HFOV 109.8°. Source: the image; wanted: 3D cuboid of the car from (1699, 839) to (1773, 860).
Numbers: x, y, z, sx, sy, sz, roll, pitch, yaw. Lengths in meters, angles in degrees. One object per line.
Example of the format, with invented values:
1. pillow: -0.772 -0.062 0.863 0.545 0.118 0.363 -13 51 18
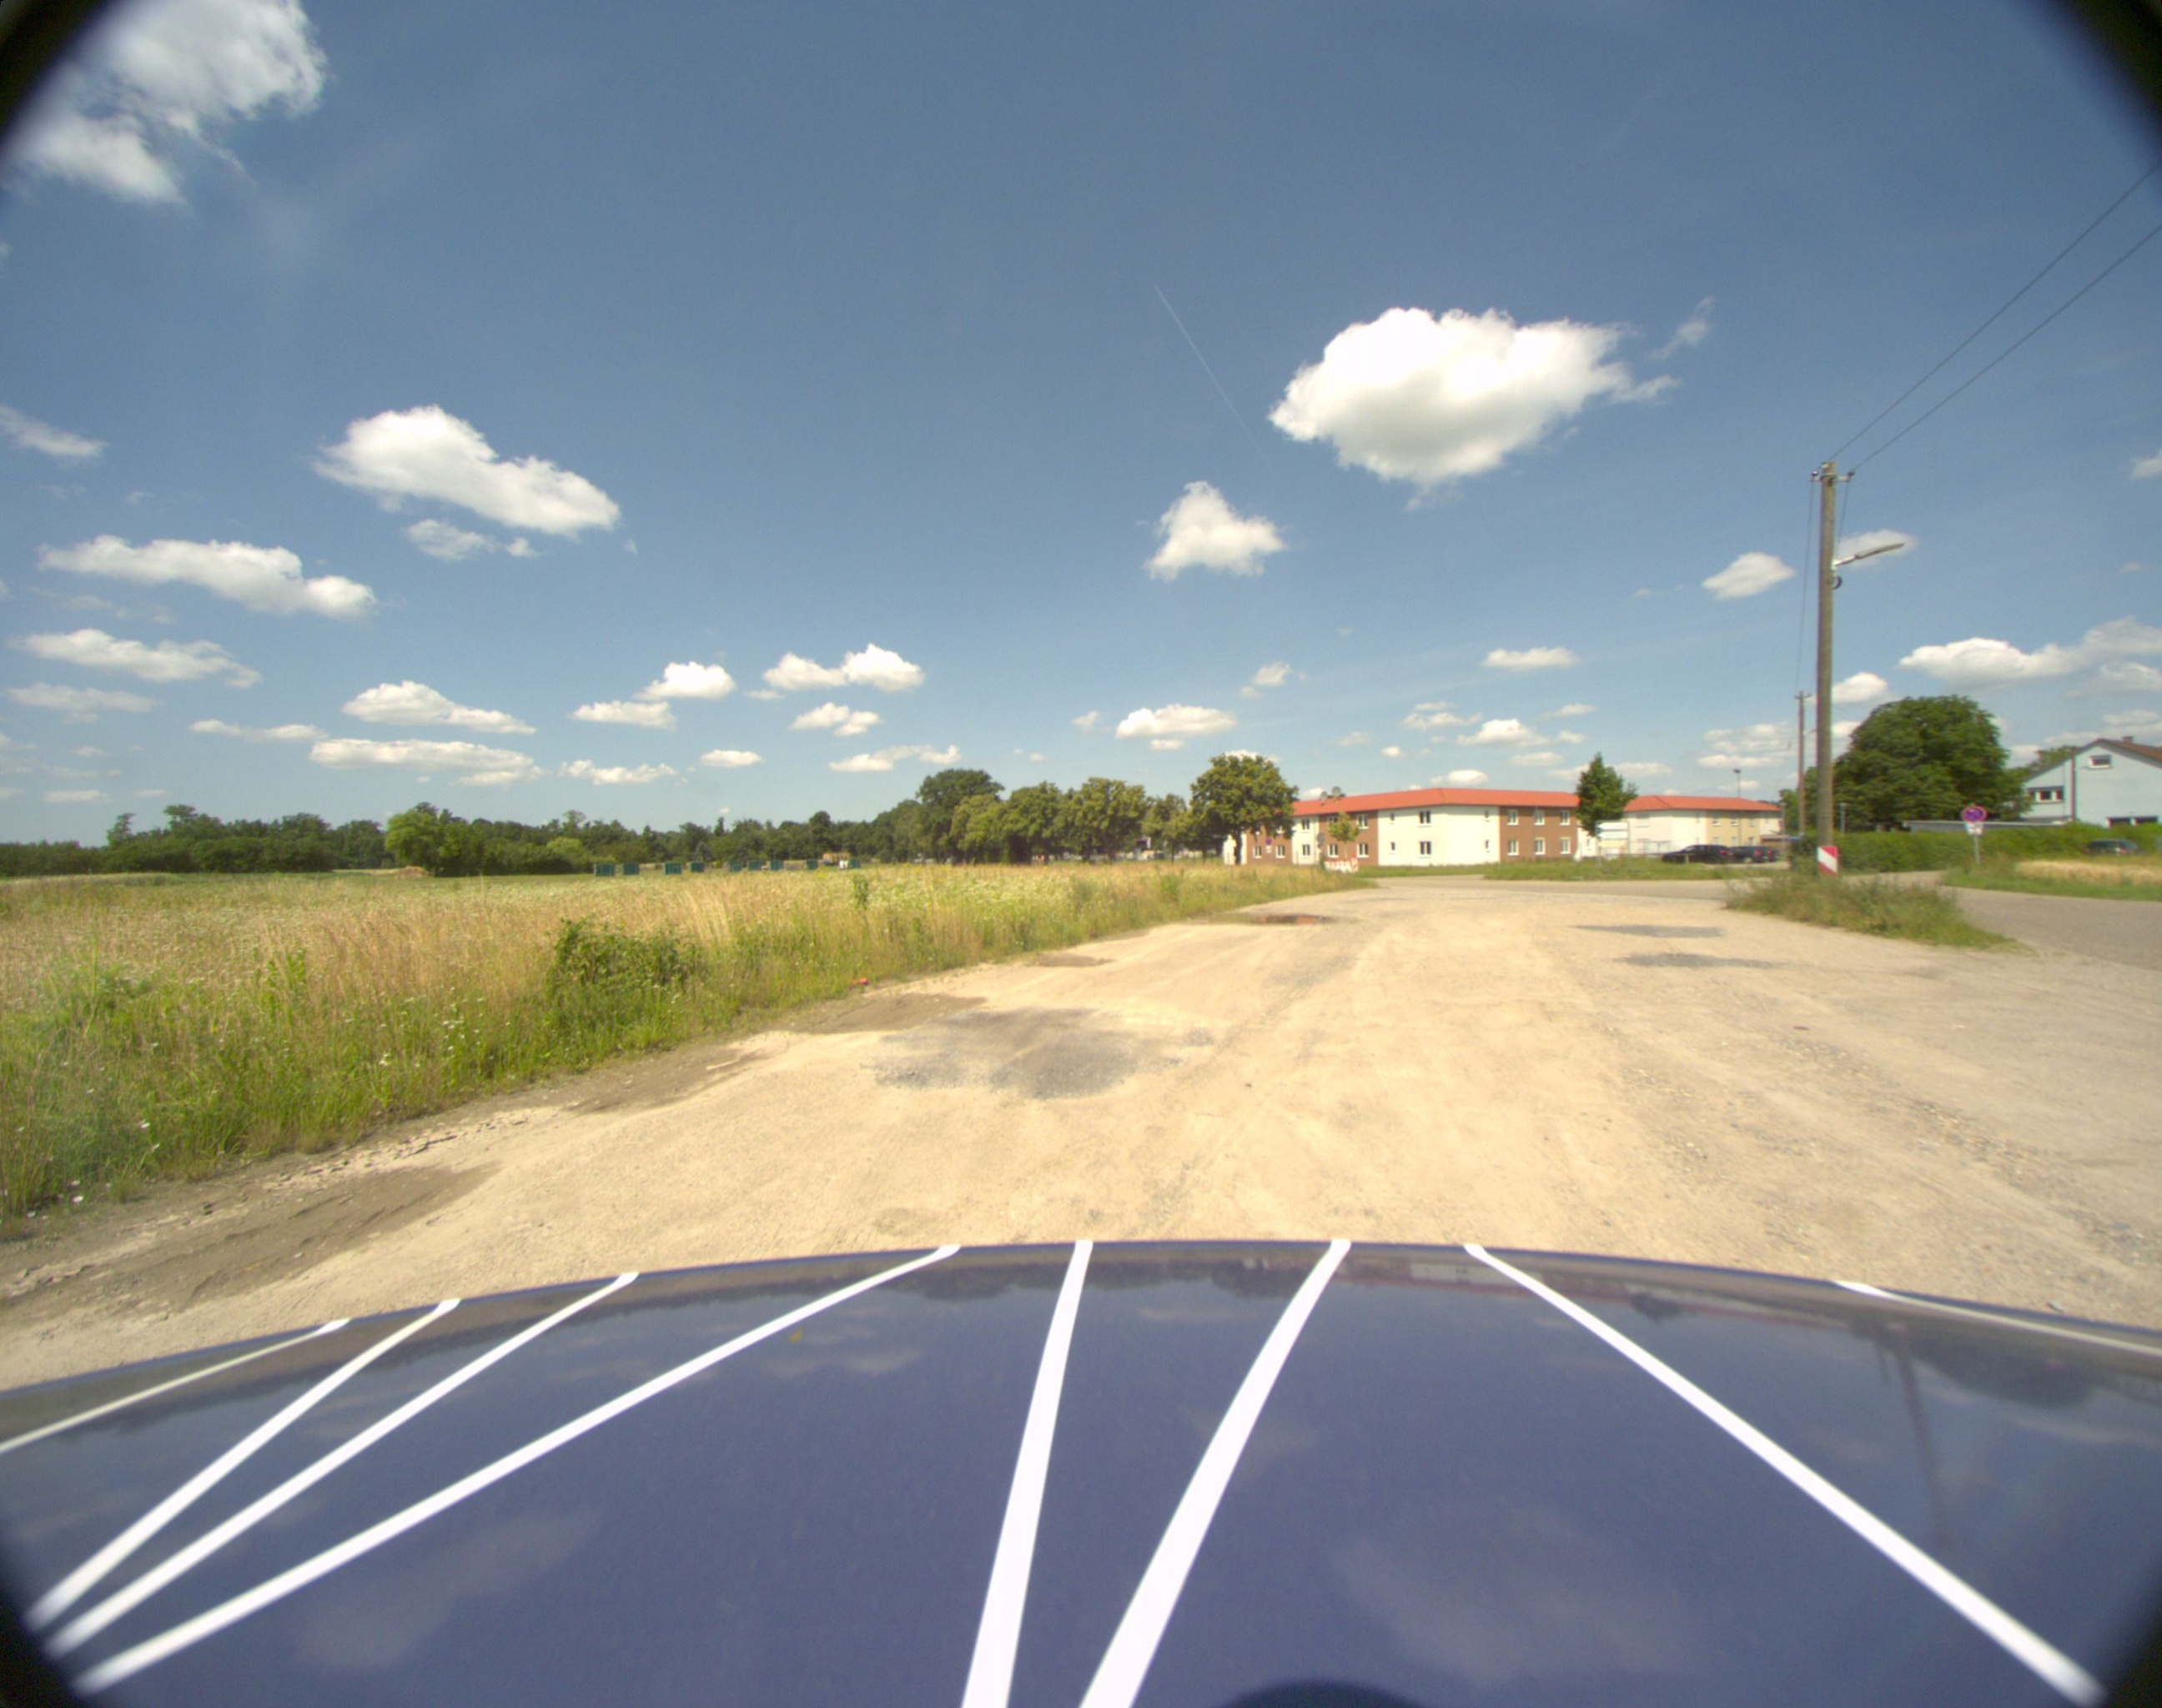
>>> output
1. car: 53.678 -0.351 62.331 2.003 1.605 4.139 -1 0 -27

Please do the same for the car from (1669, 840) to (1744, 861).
1. car: 50.023 -0.254 60.834 2.003 1.605 4.139 -1 0 -27

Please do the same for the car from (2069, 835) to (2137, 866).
1. car: 61.250 -0.216 45.533 4.260 1.669 1.746 -2 0 -28
